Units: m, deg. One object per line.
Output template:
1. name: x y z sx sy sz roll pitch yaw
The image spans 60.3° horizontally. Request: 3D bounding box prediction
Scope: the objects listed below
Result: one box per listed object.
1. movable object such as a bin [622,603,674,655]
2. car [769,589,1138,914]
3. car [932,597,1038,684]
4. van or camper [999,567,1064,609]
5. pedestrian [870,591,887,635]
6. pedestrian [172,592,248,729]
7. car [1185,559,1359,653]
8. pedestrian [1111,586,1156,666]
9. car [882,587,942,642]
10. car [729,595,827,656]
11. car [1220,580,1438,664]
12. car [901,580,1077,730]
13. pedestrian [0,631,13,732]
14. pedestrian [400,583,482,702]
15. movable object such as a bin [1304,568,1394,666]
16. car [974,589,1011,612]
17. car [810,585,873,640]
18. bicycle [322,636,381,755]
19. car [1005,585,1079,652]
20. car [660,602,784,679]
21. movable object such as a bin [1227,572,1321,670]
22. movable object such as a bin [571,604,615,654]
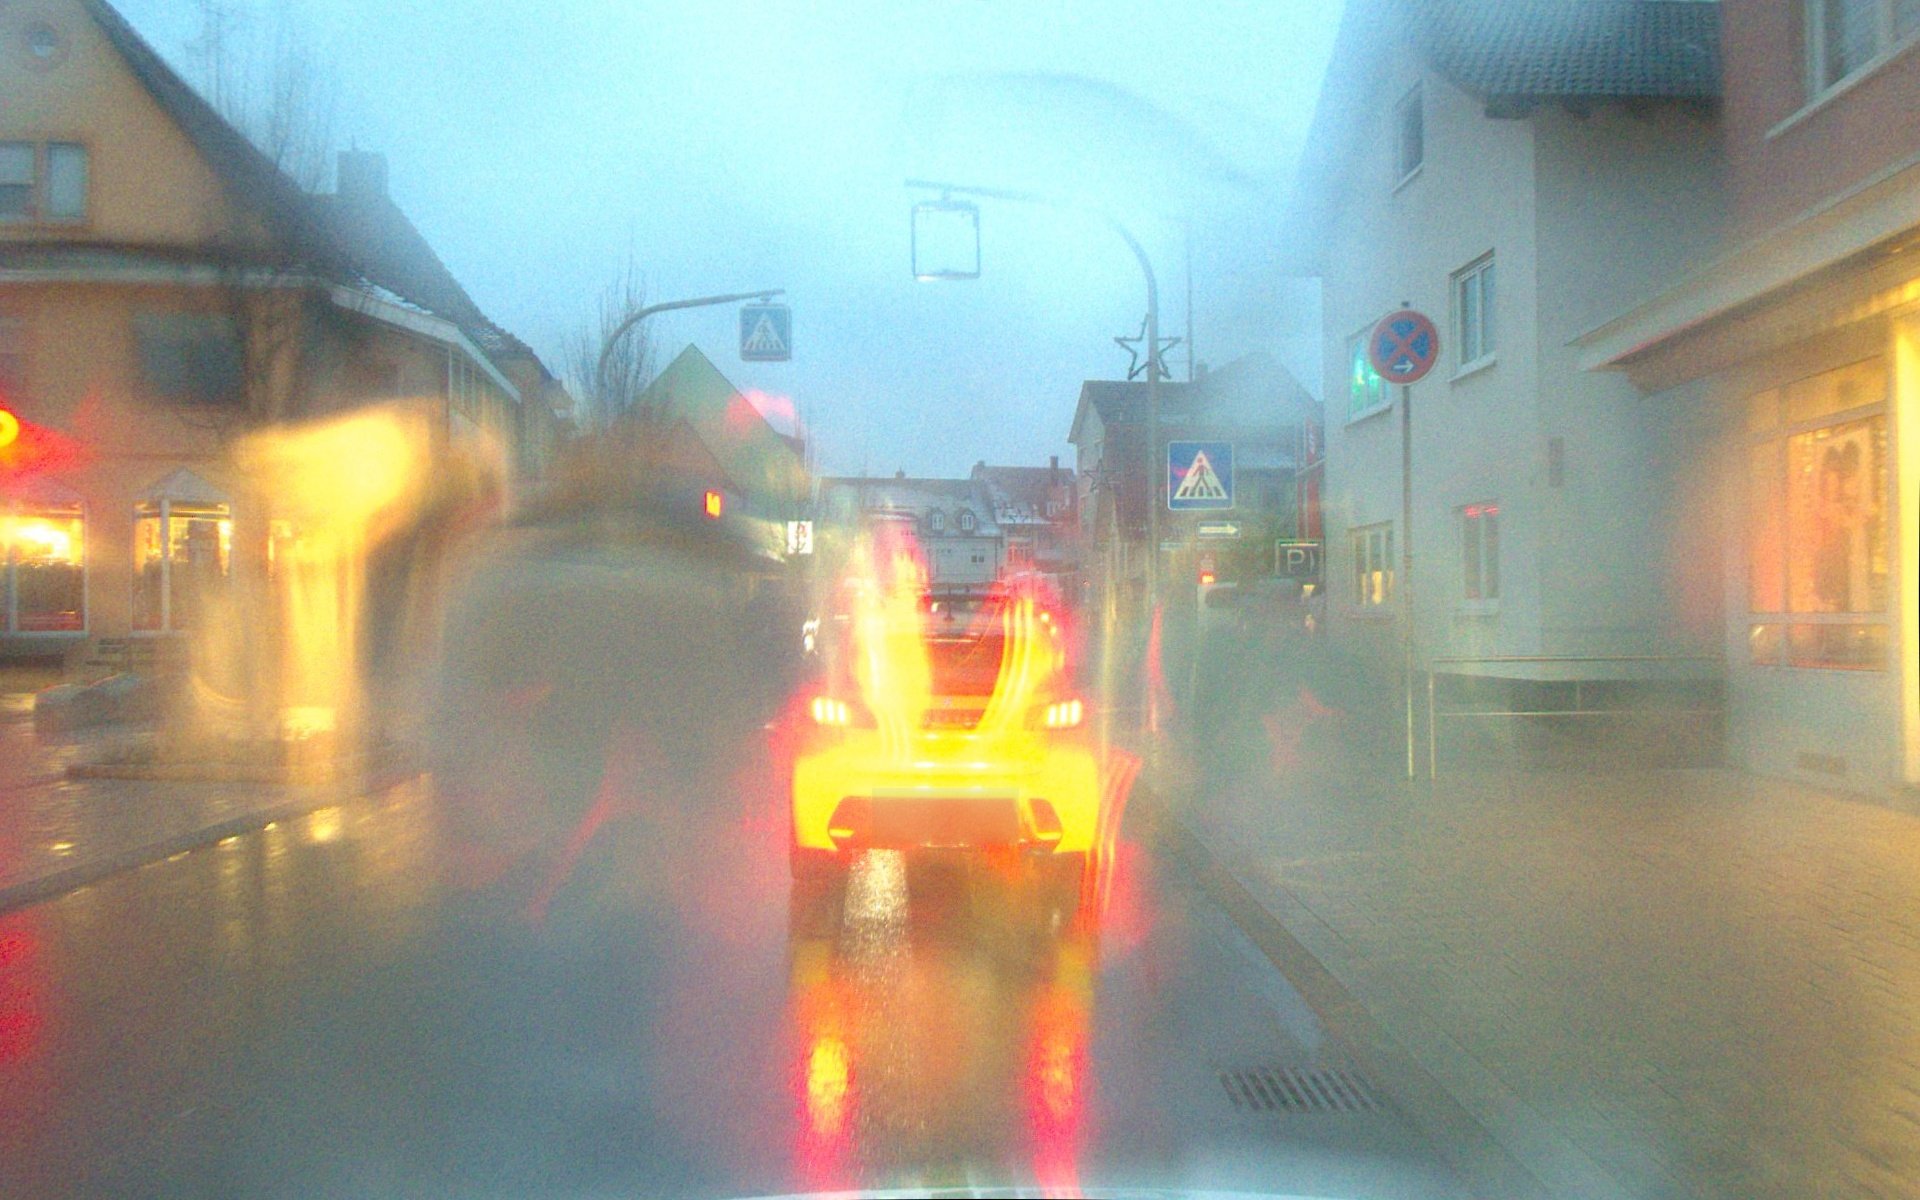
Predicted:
1. movable object such as a bin: -8.763 0.812 46.486 1.315 1.377 0.887 -3 0 -8
2. car: -0.058 0.746 10.073 1.777 1.560 3.999 1 0 -1
3. car: 0.440 0.779 33.409 1.953 1.616 3.999 1 0 -2
4. van or camper: 5.577 -0.927 130.278 2.613 3.100 6.692 -4 1 -21
5. pedestrian: -3.020 0.473 61.304 0.562 1.613 0.530 0 1 2
6. pedestrian: -11.510 0.917 25.381 0.810 2.049 0.733 1 0 39
7. car: 7.591 0.146 40.409 4.003 2.085 2.002 -2 0 10
8. pedestrian: 4.220 0.621 40.318 0.947 1.922 1.006 1 0 -1
9. car: -1.683 0.472 59.376 1.953 1.735 4.967 2 1 0
10. car: -4.818 0.658 44.472 1.952 1.549 4.979 0 0 2
11. car: 7.147 0.436 32.353 3.903 1.512 1.913 -1 -1 4
12. car: 0.269 0.619 20.532 1.952 1.653 3.999 1 0 -2
13. pedestrian: -12.600 1.024 21.032 0.810 1.267 0.684 1 0 37
14. pedestrian: -7.641 0.614 24.392 0.809 1.687 1.097 1 0 1
15. movable object such as a bin: 6.989 0.296 29.819 1.259 1.672 1.185 -3 0 -1
16. car: 2.516 0.063 129.561 1.959 1.639 4.160 -2 -1 -13
17. car: -4.071 0.389 57.646 2.044 1.823 5.021 0 0 -3
18. bicycle: -6.362 0.968 17.339 0.319 1.079 1.738 -5 3 -14
19. car: 2.419 0.538 49.760 1.953 1.890 3.999 1 0 -1
20. car: -5.255 0.858 37.115 1.952 1.585 4.622 1 0 2
21. movable object such as a bin: 5.655 0.376 29.878 1.364 1.672 1.261 -2 0 -1
22. movable object such as a bin: -10.267 0.814 46.316 1.128 1.378 0.850 0 0 -9
